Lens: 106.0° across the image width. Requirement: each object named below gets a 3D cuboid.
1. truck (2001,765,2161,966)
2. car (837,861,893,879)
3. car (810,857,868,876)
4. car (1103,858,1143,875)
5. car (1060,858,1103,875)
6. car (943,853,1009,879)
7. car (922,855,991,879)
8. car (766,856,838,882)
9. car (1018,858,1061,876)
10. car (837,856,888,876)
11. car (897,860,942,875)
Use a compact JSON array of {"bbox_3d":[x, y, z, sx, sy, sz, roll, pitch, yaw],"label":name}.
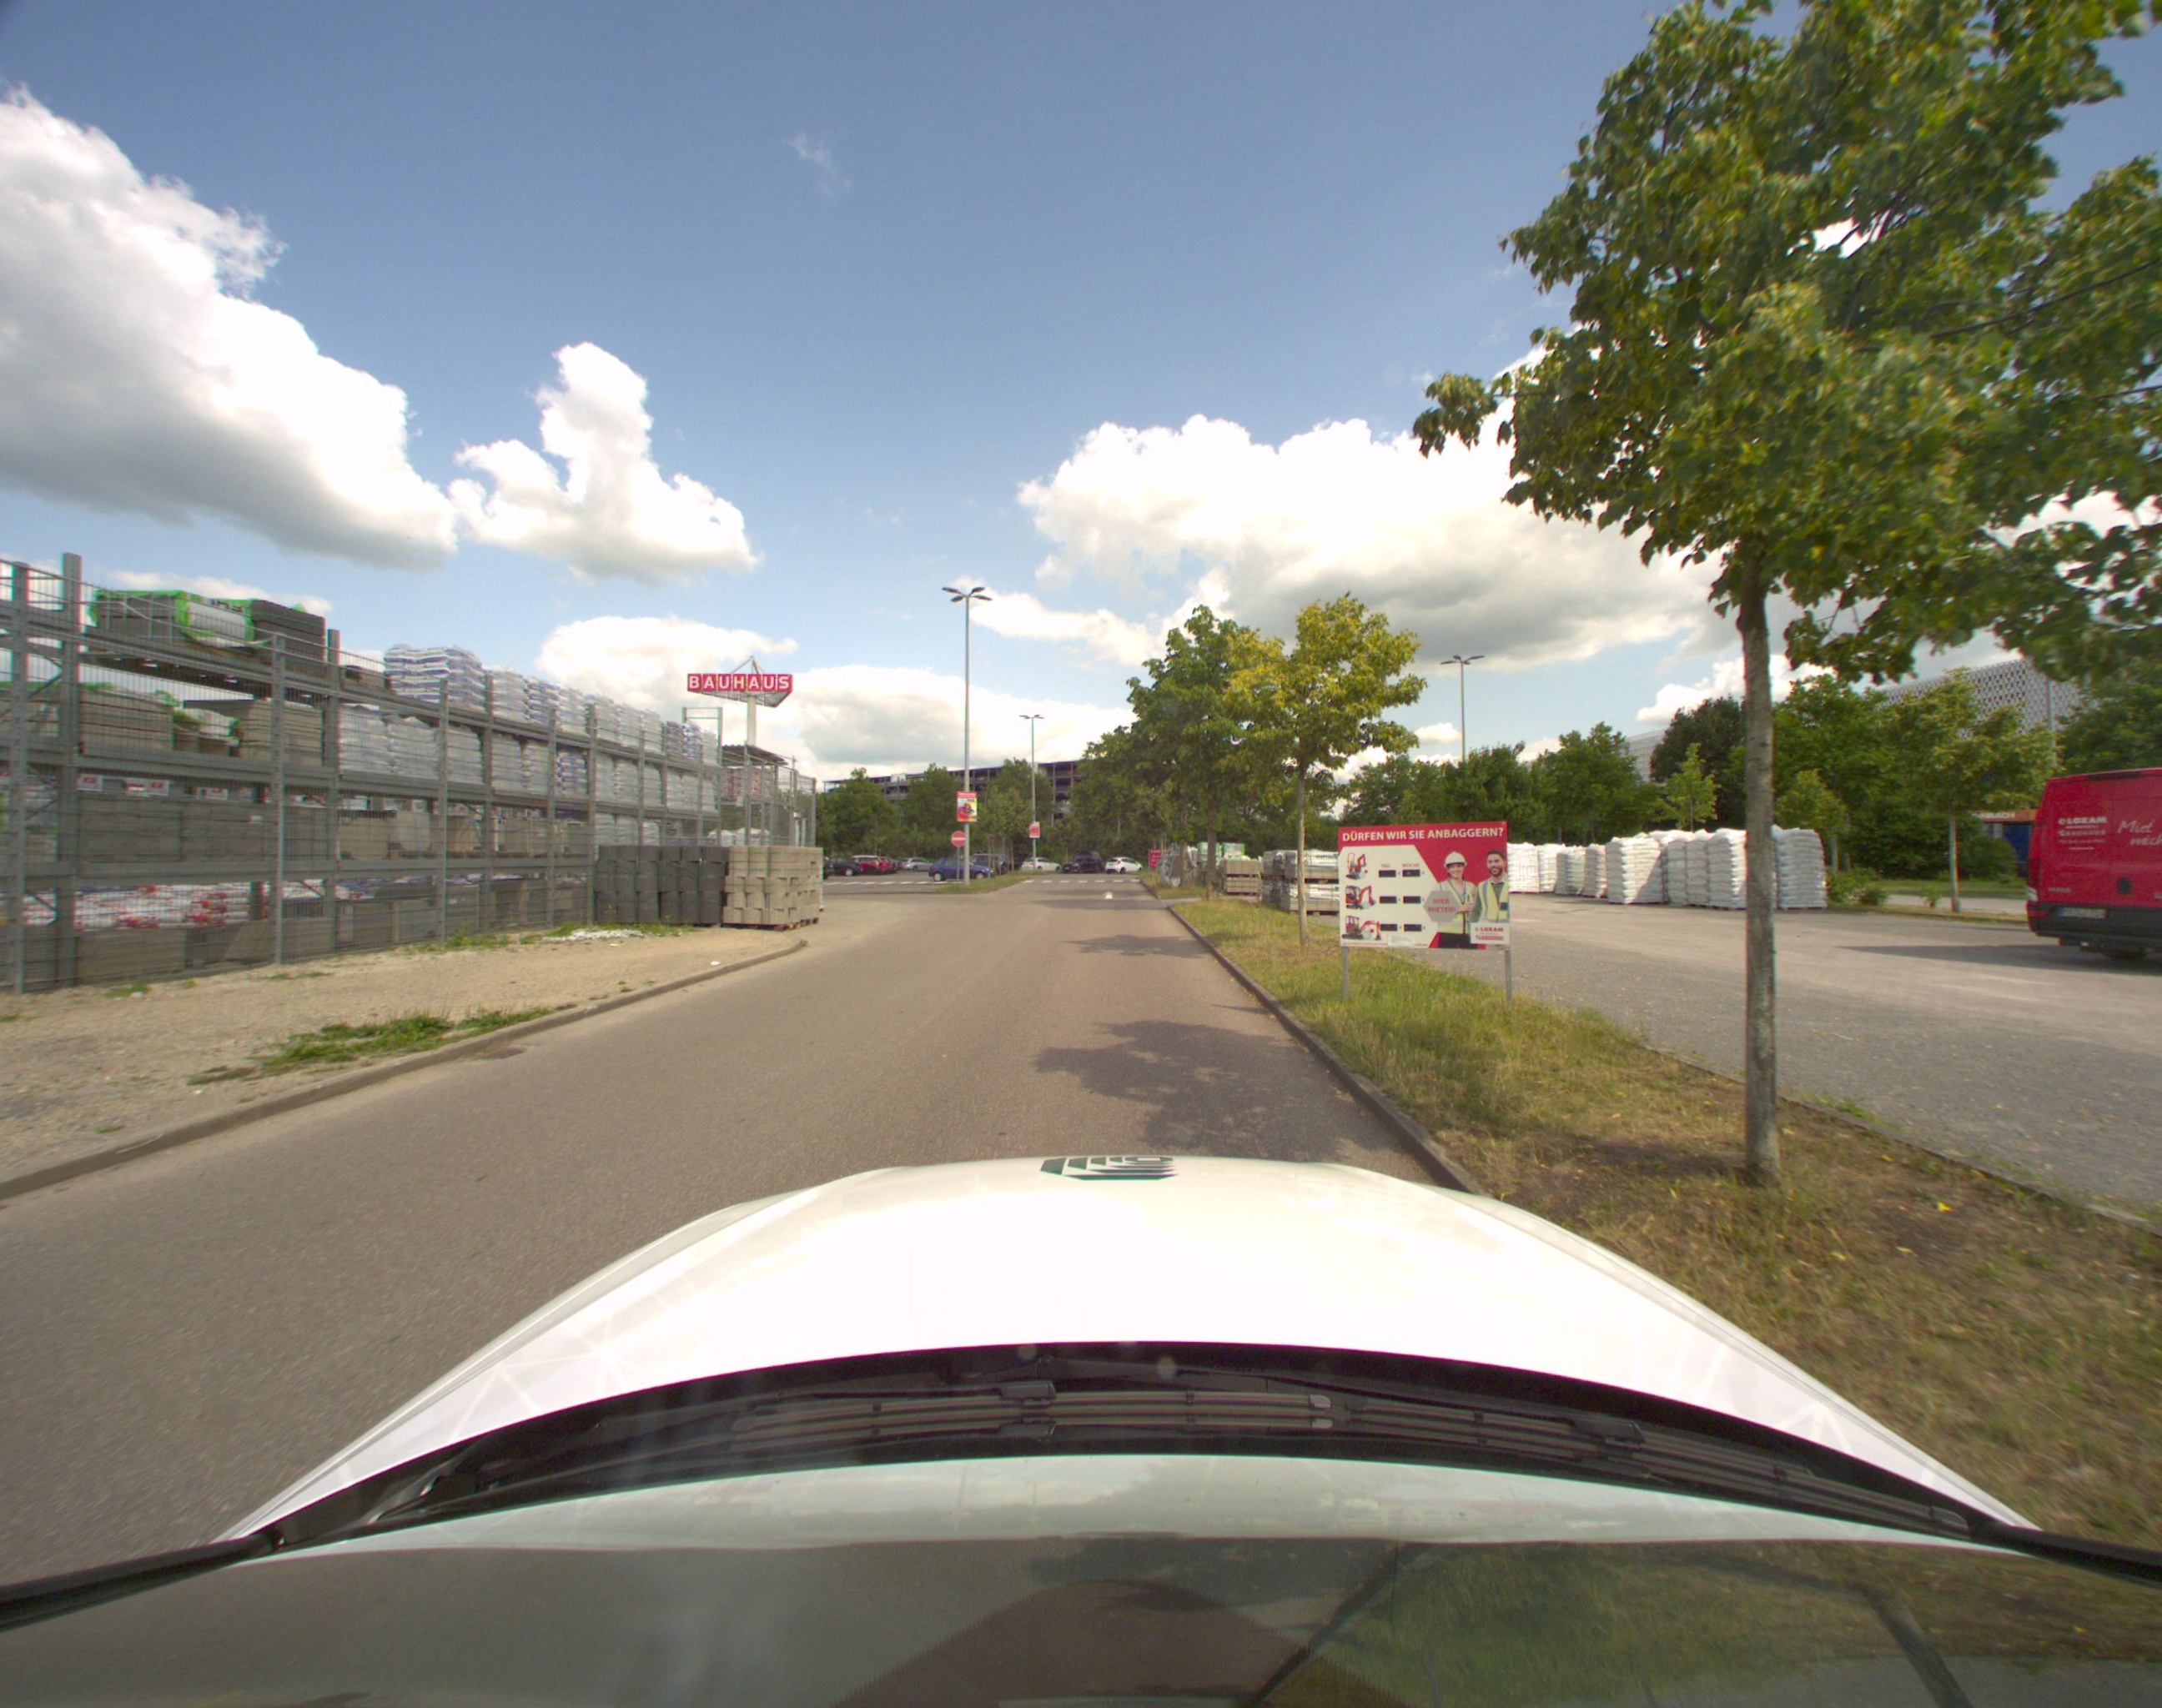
[{"bbox_3d":[16.265,0.124,10.998,5.411,2.515,2.116,0,0,-1],"label":"truck"},{"bbox_3d":[-17.483,1.304,66.066,4.062,1.399,1.766,0,0,-1],"label":"car"},{"bbox_3d":[-18.081,0.915,61.034,3.861,1.369,1.728,0,0,-2],"label":"car"},{"bbox_3d":[3.649,1.051,70.530,1.649,1.411,3.579,-1,-1,41],"label":"car"},{"bbox_3d":[0.081,1.113,73.654,1.711,1.410,4.270,0,0,36],"label":"car"},{"bbox_3d":[-6.763,0.771,52.493,3.933,1.624,1.738,0,0,3],"label":"car"},{"bbox_3d":[-7.215,0.761,47.469,3.736,1.368,1.622,0,0,1],"label":"car"},{"bbox_3d":[-18.089,0.959,52.896,4.058,1.624,1.783,0,0,0],"label":"car"},{"bbox_3d":[-3.828,1.199,76.193,1.668,1.510,4.107,-4,-3,39],"label":"car"},{"bbox_3d":[-17.005,0.930,63.486,3.425,1.581,1.709,0,0,-1],"label":"car"},{"bbox_3d":[-16.962,1.436,85.496,1.761,1.504,4.684,0,0,36],"label":"car"}]
